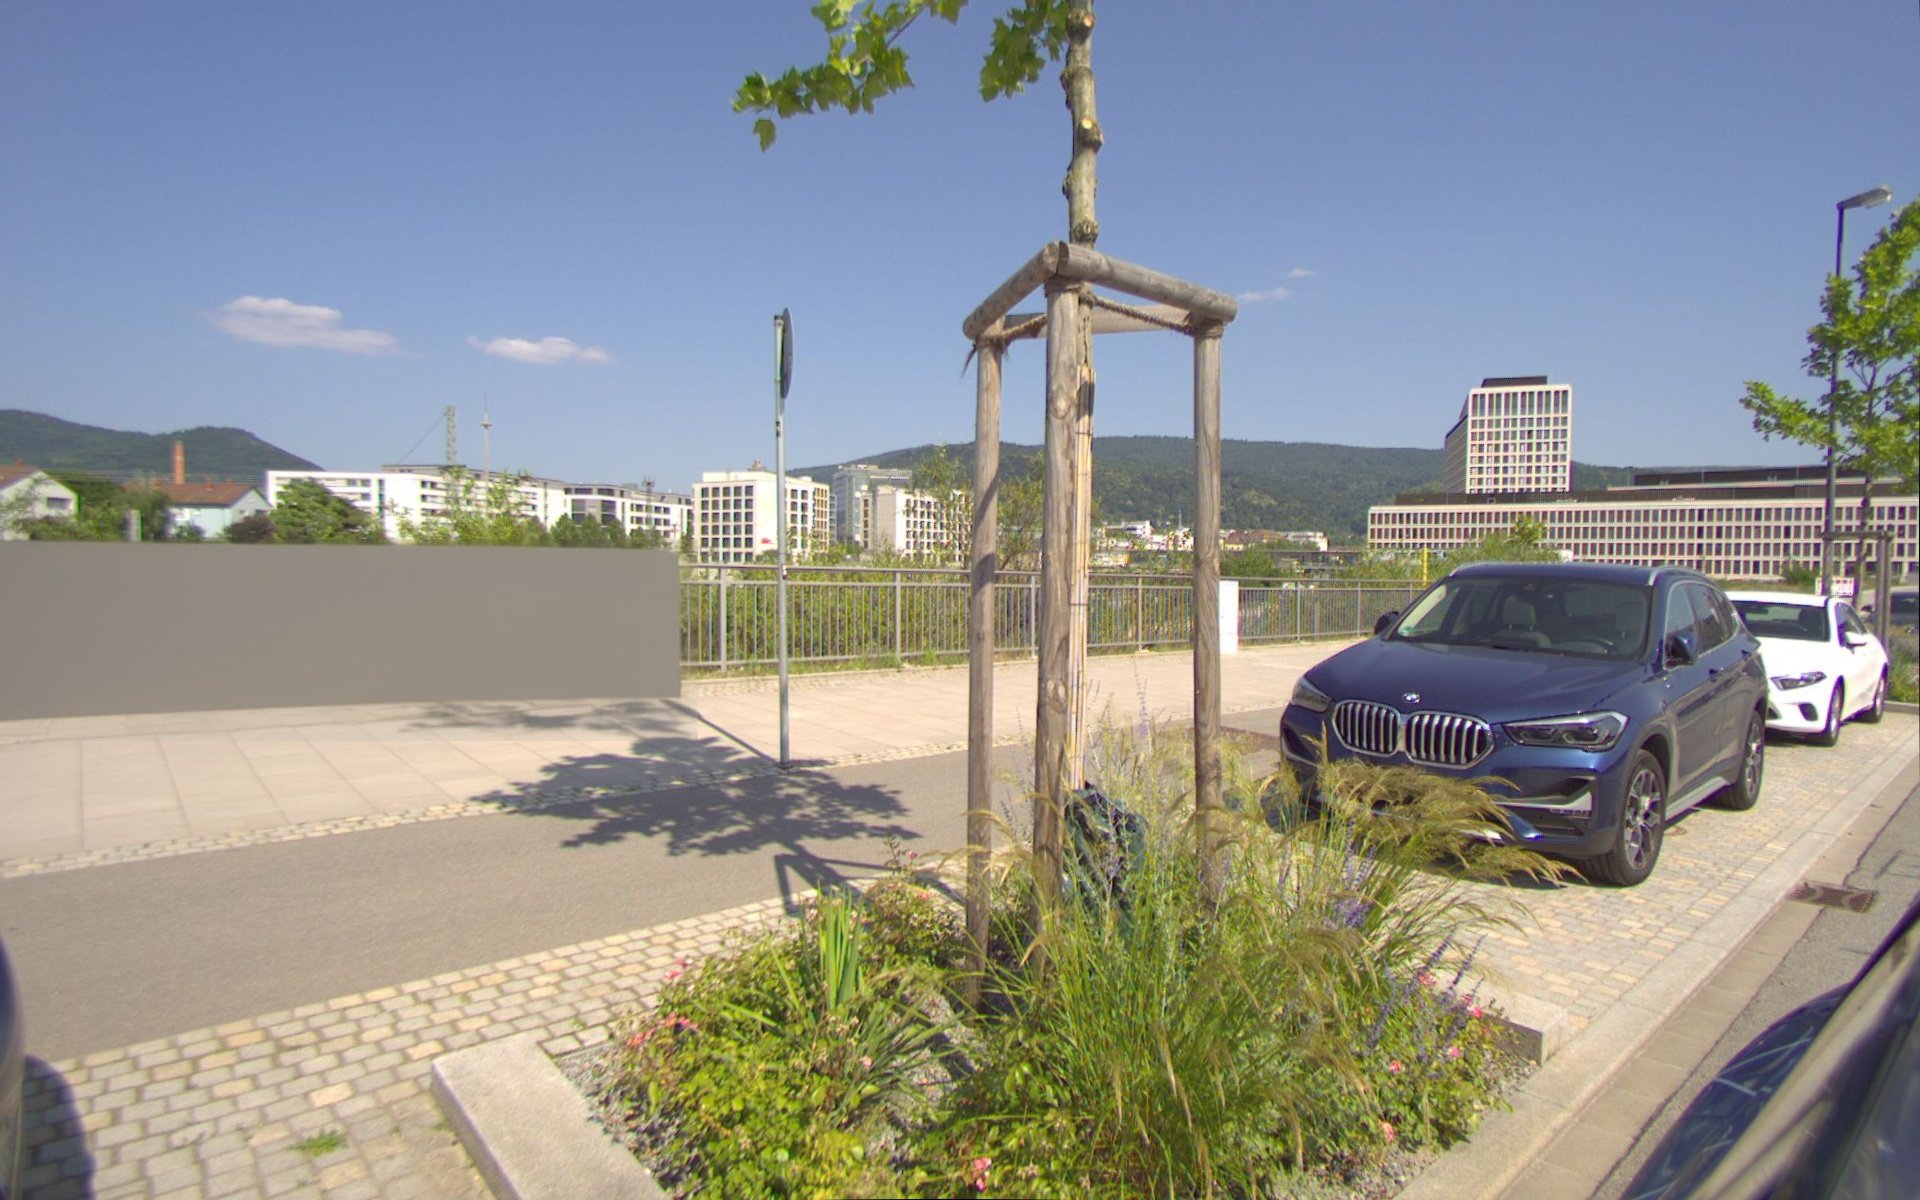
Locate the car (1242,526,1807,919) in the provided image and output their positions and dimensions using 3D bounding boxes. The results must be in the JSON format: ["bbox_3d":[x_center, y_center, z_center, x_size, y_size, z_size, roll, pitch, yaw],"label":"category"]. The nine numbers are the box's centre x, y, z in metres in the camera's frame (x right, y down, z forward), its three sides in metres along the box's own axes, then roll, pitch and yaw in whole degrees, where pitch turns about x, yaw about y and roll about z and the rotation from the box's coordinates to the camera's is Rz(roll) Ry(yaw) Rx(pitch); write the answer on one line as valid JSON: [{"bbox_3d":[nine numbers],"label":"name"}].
[{"bbox_3d":[3.790,0.452,6.454,4.197,1.703,1.807,-1,4,-41],"label":"car"}]

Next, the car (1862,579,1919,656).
[{"bbox_3d":[20.272,0.349,21.002,3.849,1.449,1.808,-1,5,-41],"label":"car"}]

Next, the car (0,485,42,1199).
[{"bbox_3d":[-2.837,0.607,0.495,3.485,1.574,1.585,0,4,-42],"label":"car"}]

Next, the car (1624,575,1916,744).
[{"bbox_3d":[8.899,0.483,10.996,4.197,1.390,1.710,-1,5,-41],"label":"car"}]
